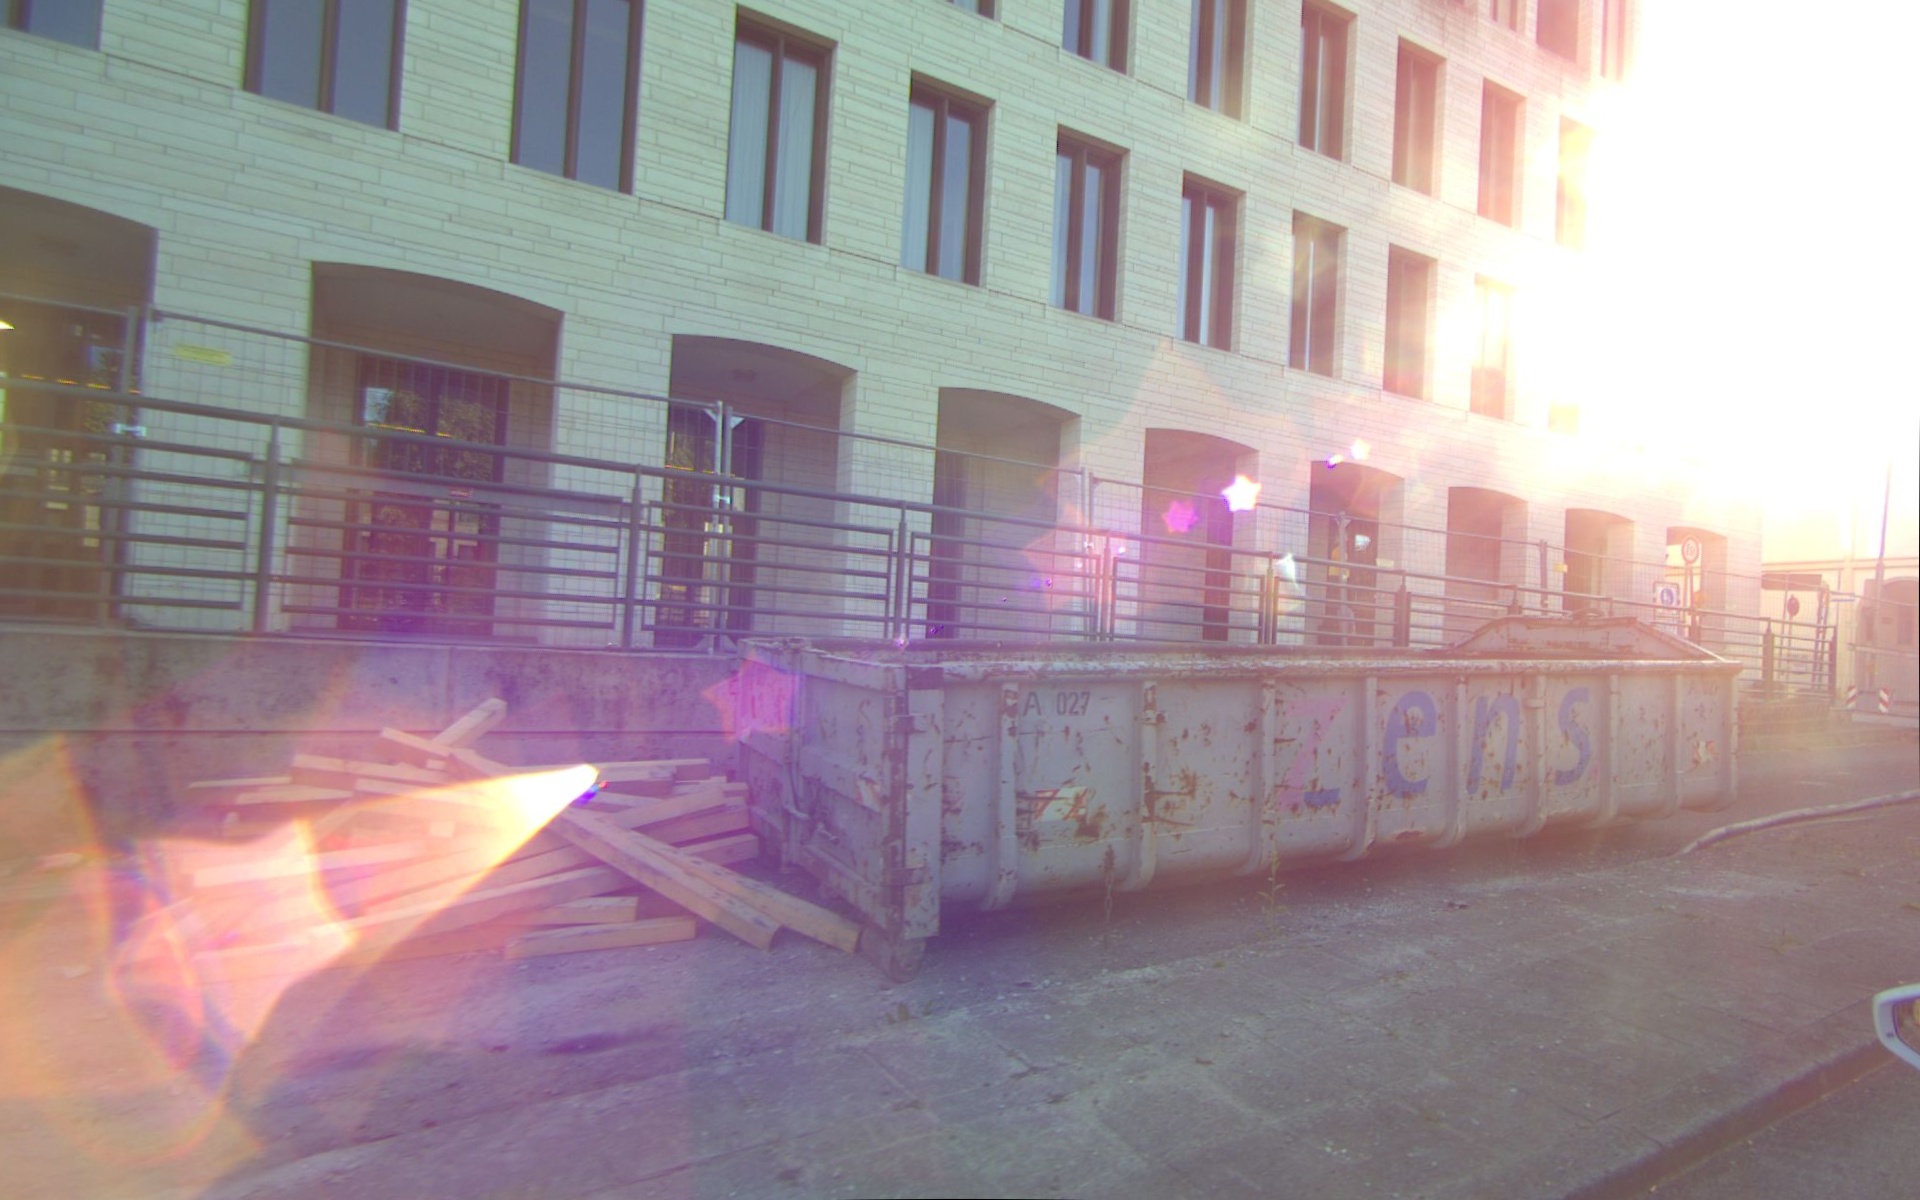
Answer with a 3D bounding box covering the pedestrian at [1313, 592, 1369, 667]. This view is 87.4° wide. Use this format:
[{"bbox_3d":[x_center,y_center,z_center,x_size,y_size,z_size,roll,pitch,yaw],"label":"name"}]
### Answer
[{"bbox_3d":[7.788,0.608,20.545,0.788,1.507,0.668,0,-3,-27],"label":"pedestrian"}]
